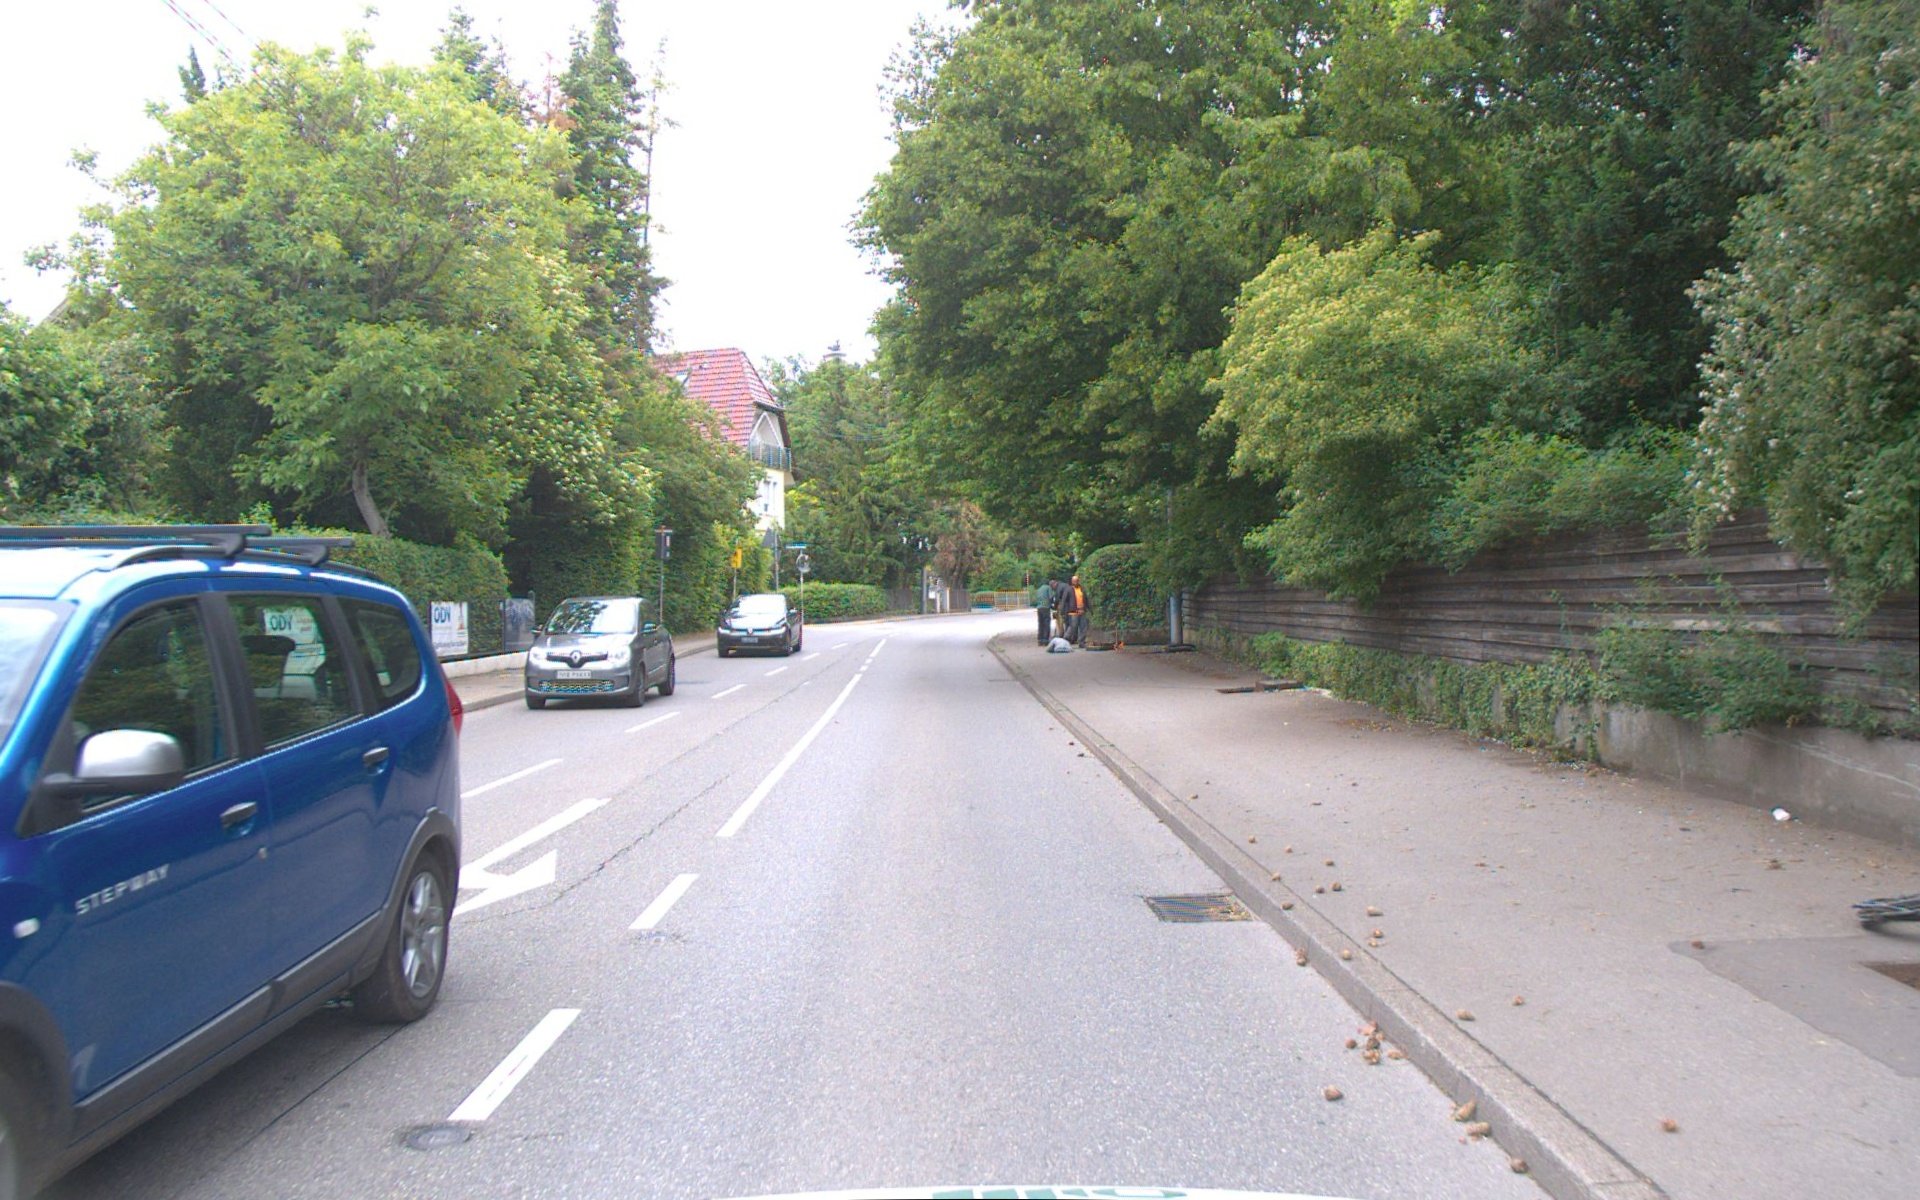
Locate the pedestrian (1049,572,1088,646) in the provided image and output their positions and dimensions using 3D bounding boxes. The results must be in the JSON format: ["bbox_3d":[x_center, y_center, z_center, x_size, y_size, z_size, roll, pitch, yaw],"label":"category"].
[{"bbox_3d":[2.754,0.232,41.890,0.685,1.838,0.663,-1,0,-42],"label":"pedestrian"}]

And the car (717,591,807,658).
[{"bbox_3d":[-4.786,0.562,40.397,1.646,1.497,4.018,-1,0,1],"label":"car"}]

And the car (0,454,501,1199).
[{"bbox_3d":[-2.790,0.592,4.572,1.769,1.747,4.378,-1,0,0],"label":"car"}]

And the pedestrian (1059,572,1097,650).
[{"bbox_3d":[2.817,0.259,39.446,0.790,1.838,0.740,-1,0,-2],"label":"pedestrian"}]

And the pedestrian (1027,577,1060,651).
[{"bbox_3d":[2.096,0.345,41.580,0.591,1.838,0.516,-1,0,40],"label":"pedestrian"}]

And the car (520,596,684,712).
[{"bbox_3d":[-5.224,0.737,24.549,1.650,1.545,3.535,-1,0,0],"label":"car"}]

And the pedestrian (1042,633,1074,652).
[{"bbox_3d":[2.272,0.994,38.423,0.658,0.400,0.740,-1,0,-2],"label":"pedestrian"}]
